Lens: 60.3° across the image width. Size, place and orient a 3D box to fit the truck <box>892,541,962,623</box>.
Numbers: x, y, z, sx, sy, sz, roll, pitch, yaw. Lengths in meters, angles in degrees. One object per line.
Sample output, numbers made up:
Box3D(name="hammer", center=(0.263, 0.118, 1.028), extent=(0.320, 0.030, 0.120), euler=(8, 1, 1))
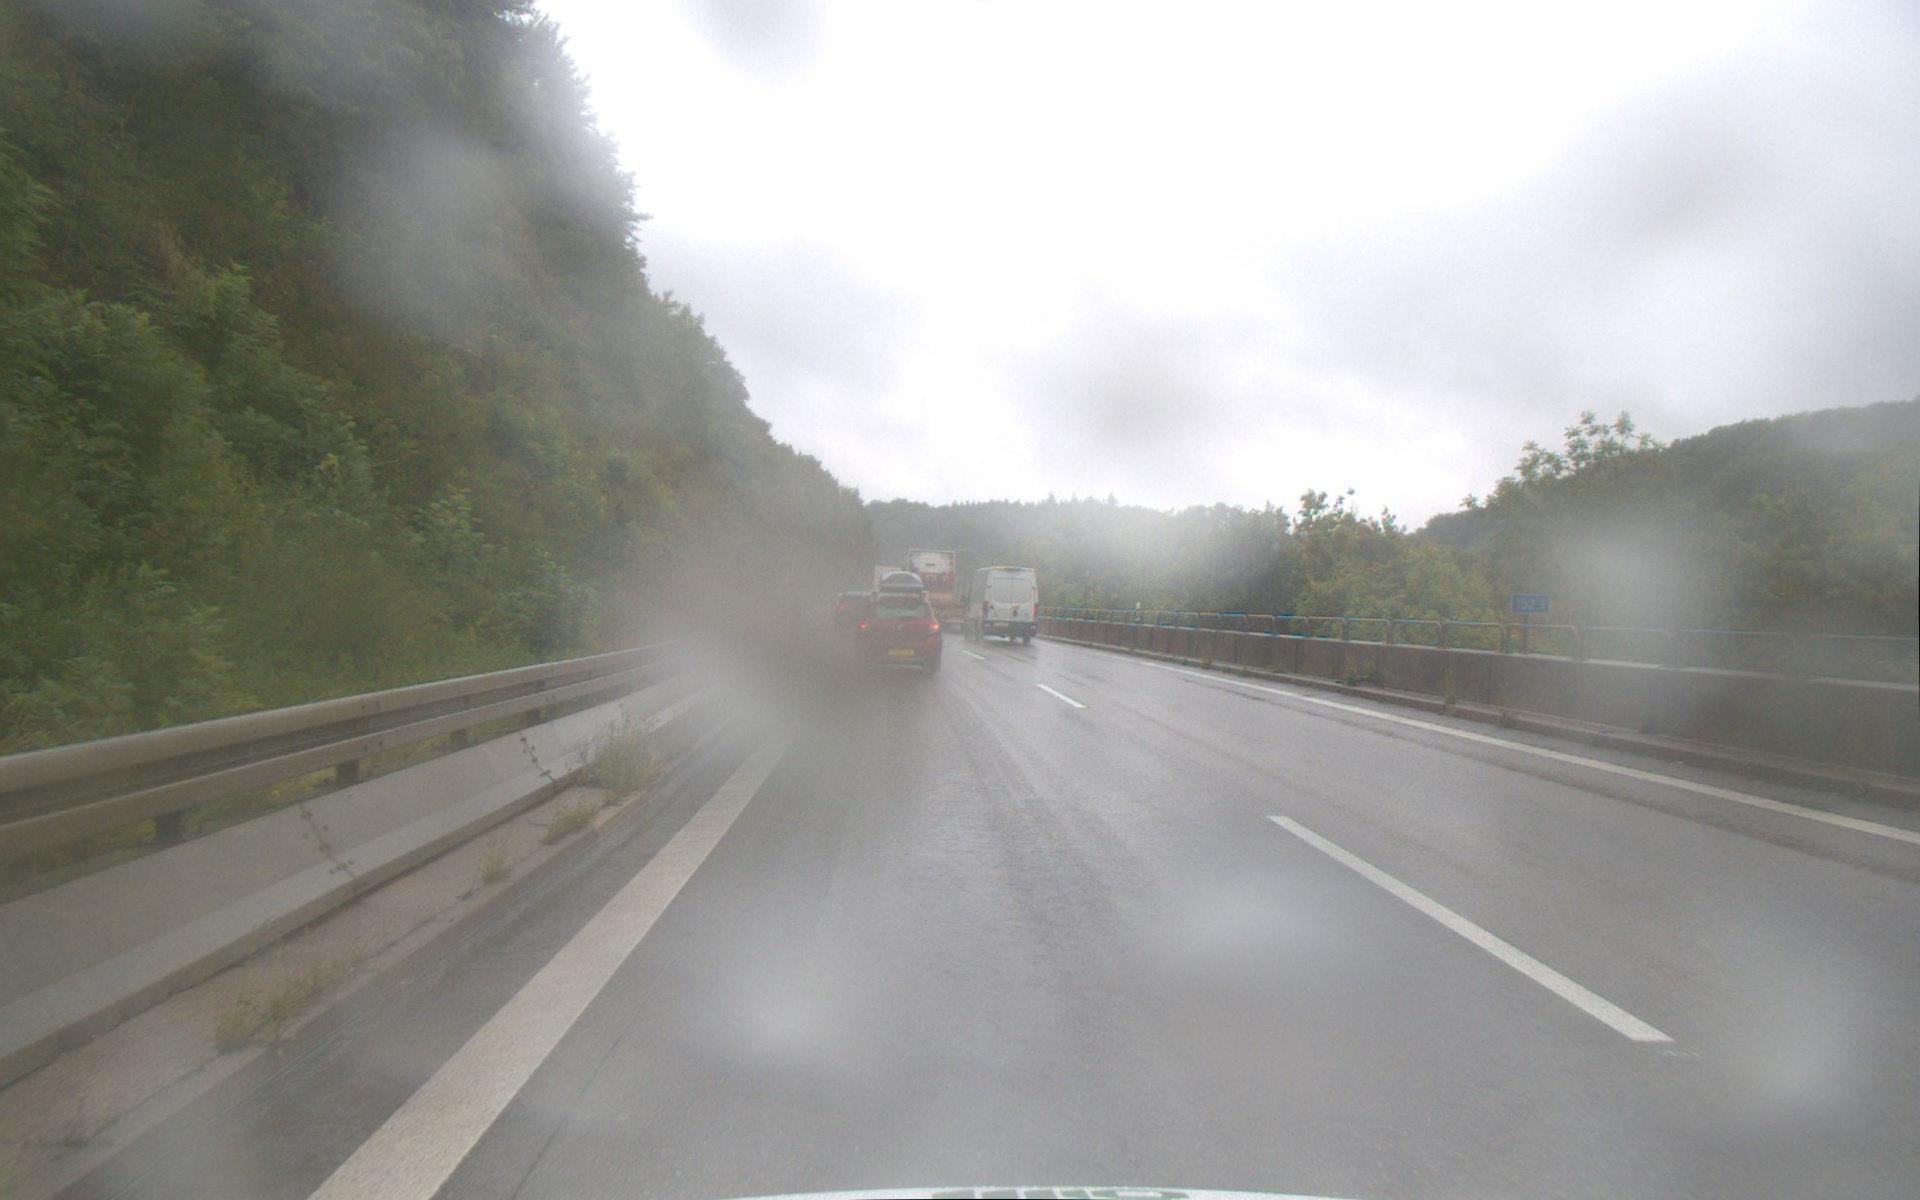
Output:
Box3D(name="truck", center=(-1.803, -0.919, 88.057), extent=(3.157, 4.047, 5.433), euler=(3, 0, -5))

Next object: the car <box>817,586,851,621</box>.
Box3D(name="car", center=(-6.815, 0.189, 89.432), extent=(1.683, 1.849, 3.887), euler=(1, -1, -6))

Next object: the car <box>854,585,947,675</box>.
Box3D(name="car", center=(-1.267, 0.597, 33.795), extent=(1.723, 1.714, 3.996), euler=(1, 0, -4))

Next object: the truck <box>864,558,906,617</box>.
Box3D(name="truck", center=(-6.318, -0.973, 138.859), extent=(3.160, 4.764, 8.291), euler=(1, -1, -5))

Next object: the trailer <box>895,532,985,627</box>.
Box3D(name="trailer", center=(-1.139, -0.906, 80.648), extent=(3.156, 4.068, 13.508), euler=(3, 0, -5))

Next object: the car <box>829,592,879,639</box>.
Box3D(name="car", center=(-4.011, 0.576, 62.867), extent=(1.787, 1.726, 3.997), euler=(1, 0, -3))

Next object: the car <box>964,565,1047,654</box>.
Box3D(name="car", center=(1.552, 0.326, 59.594), extent=(2.163, 2.842, 7.377), euler=(4, 0, -4))
